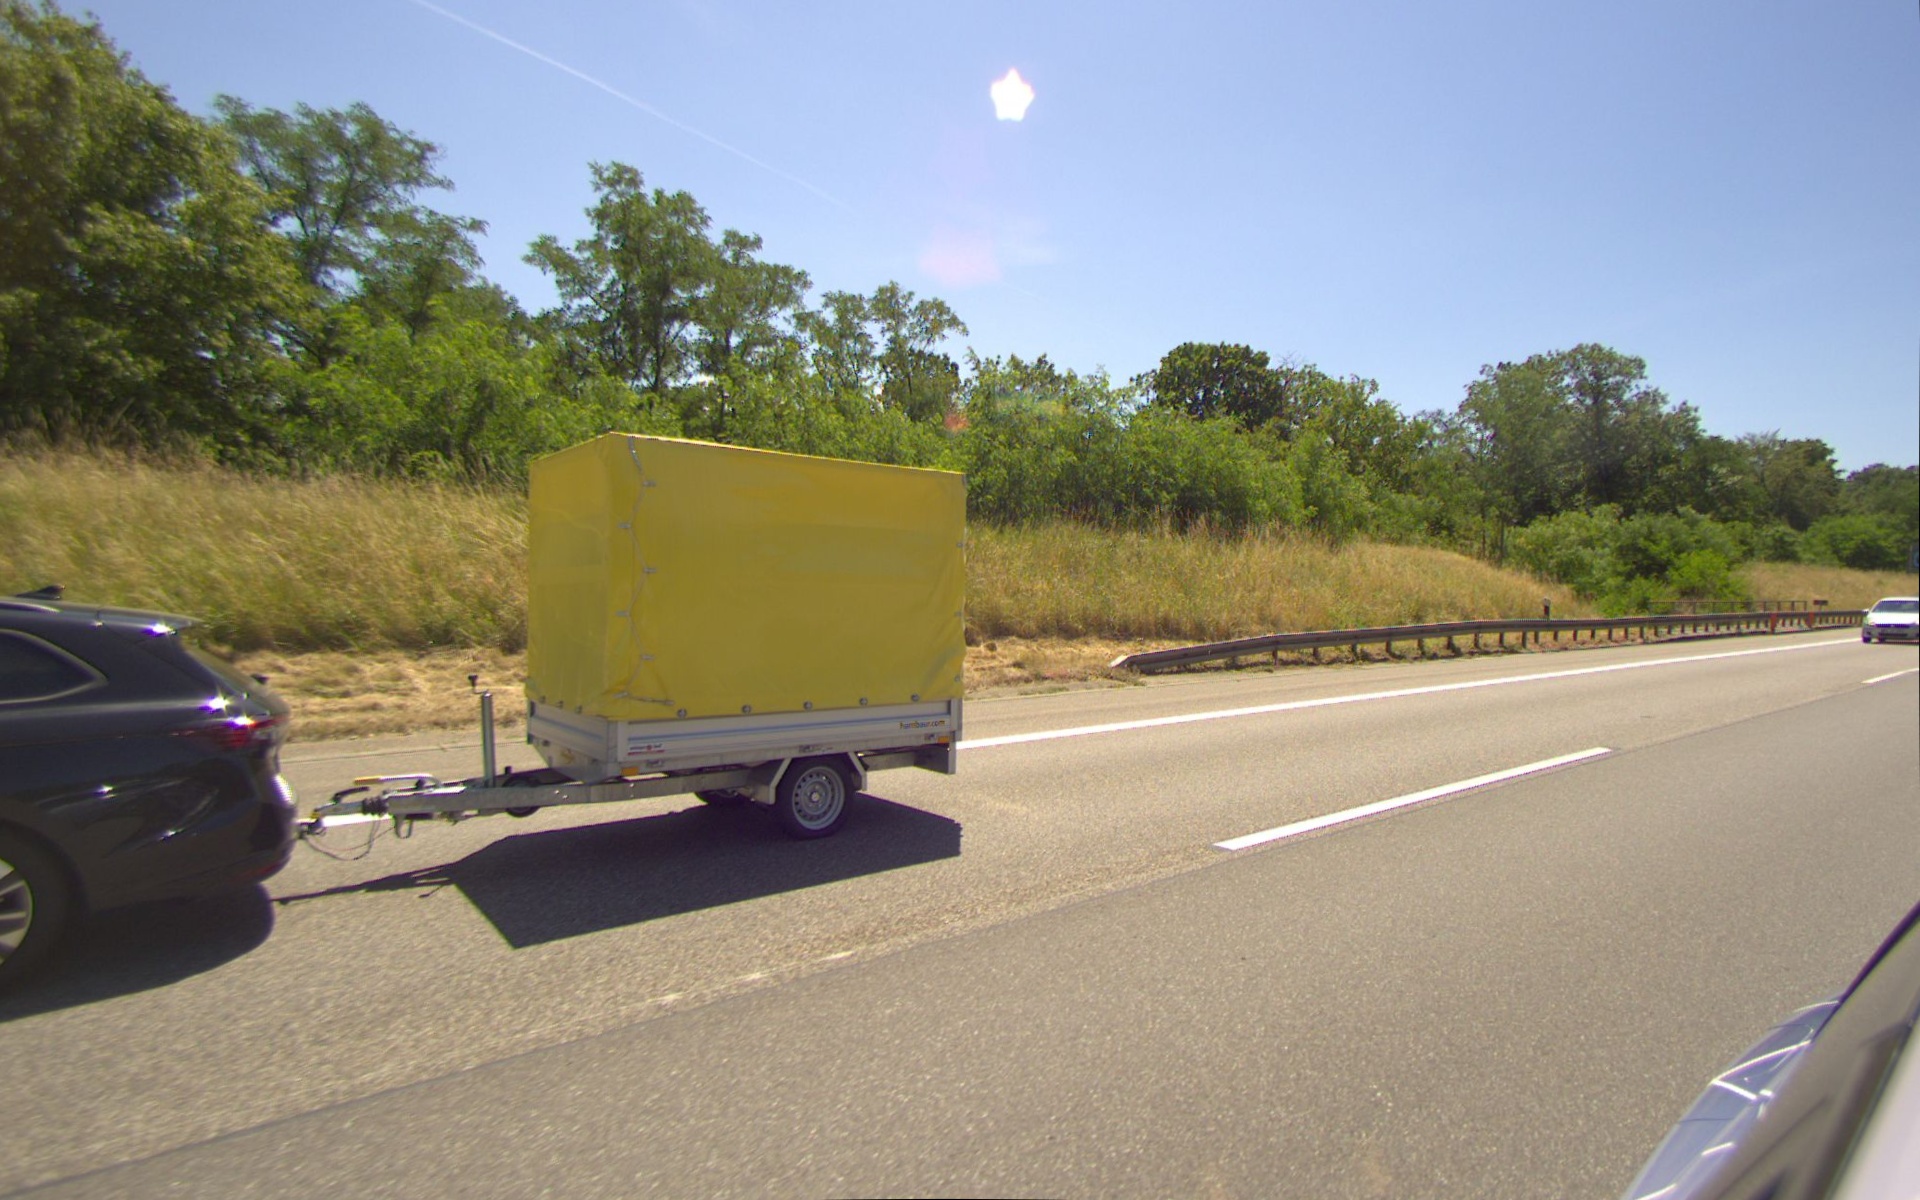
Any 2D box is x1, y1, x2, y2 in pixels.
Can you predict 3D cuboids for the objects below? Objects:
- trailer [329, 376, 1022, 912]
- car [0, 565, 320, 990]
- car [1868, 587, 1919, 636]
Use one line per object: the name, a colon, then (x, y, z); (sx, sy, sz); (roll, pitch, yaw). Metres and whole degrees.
trailer: (-1.570, 0.170, 6.251); (3.771, 2.318, 1.706); (0, 1, -40)
car: (-4.984, 0.615, 3.316); (4.703, 1.474, 1.825); (0, 1, -40)
car: (30.477, 0.330, 32.179); (3.908, 1.484, 1.749); (0, 0, -38)
